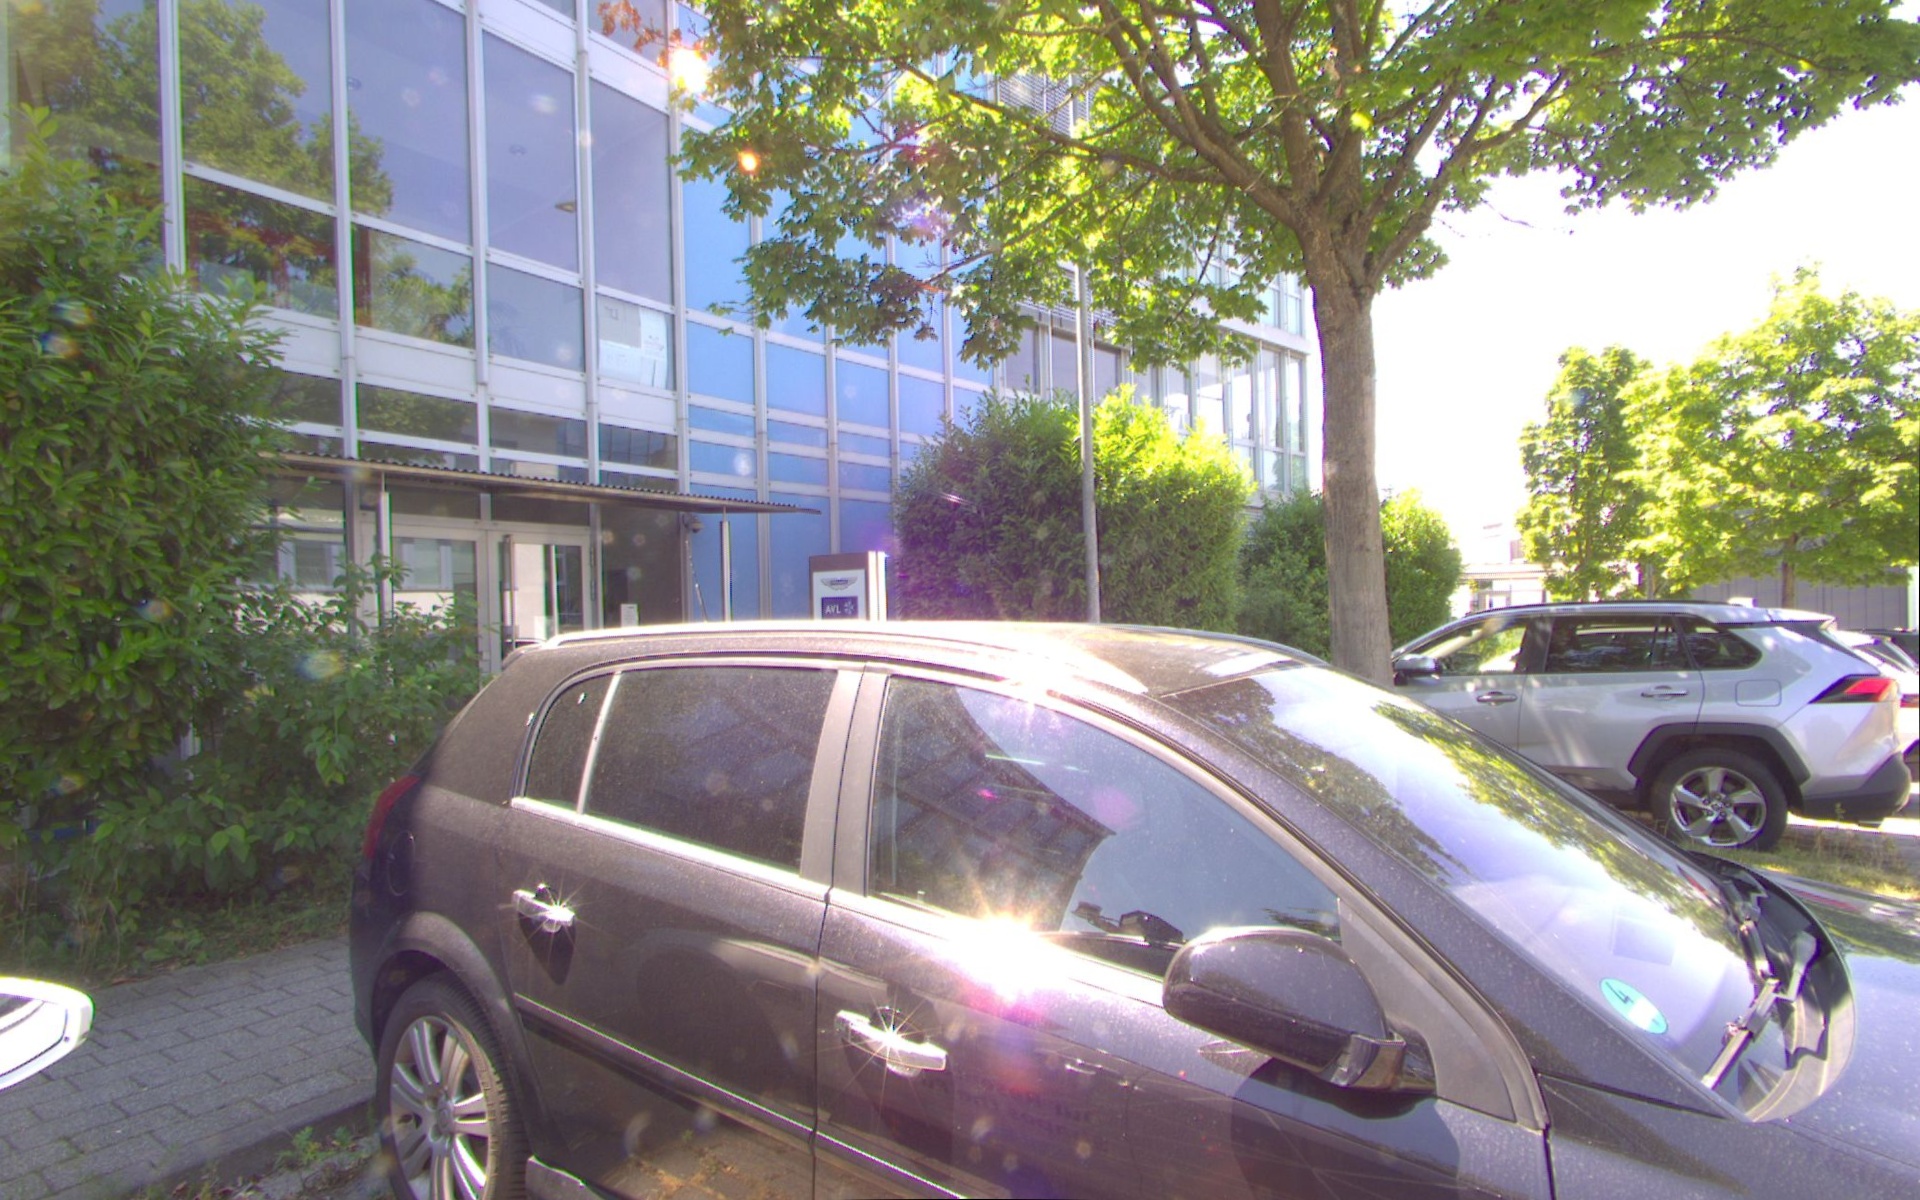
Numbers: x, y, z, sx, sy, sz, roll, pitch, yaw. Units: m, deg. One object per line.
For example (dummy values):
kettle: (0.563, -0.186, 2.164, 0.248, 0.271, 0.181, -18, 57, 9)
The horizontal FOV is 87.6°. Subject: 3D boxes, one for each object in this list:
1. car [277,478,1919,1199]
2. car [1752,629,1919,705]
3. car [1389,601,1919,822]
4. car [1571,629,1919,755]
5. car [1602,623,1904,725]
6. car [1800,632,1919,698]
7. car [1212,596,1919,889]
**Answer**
car: (0.437, 0.726, 2.139, 4.506, 1.569, 1.753, -1, -2, 36)
car: (20.171, 1.460, 22.377, 1.614, 1.545, 3.566, 1, -1, -34)
car: (6.429, 0.870, 9.384, 4.150, 1.664, 1.649, 0, -1, 39)
car: (11.386, 1.214, 14.433, 1.645, 1.505, 4.136, 2, -1, -44)
car: (14.645, 1.288, 18.705, 1.641, 1.626, 4.145, 1, -1, -38)
car: (22.240, 1.523, 23.495, 1.614, 1.462, 3.566, 1, -1, -34)
car: (4.356, 0.832, 7.771, 4.278, 1.664, 1.844, 0, -1, 39)
